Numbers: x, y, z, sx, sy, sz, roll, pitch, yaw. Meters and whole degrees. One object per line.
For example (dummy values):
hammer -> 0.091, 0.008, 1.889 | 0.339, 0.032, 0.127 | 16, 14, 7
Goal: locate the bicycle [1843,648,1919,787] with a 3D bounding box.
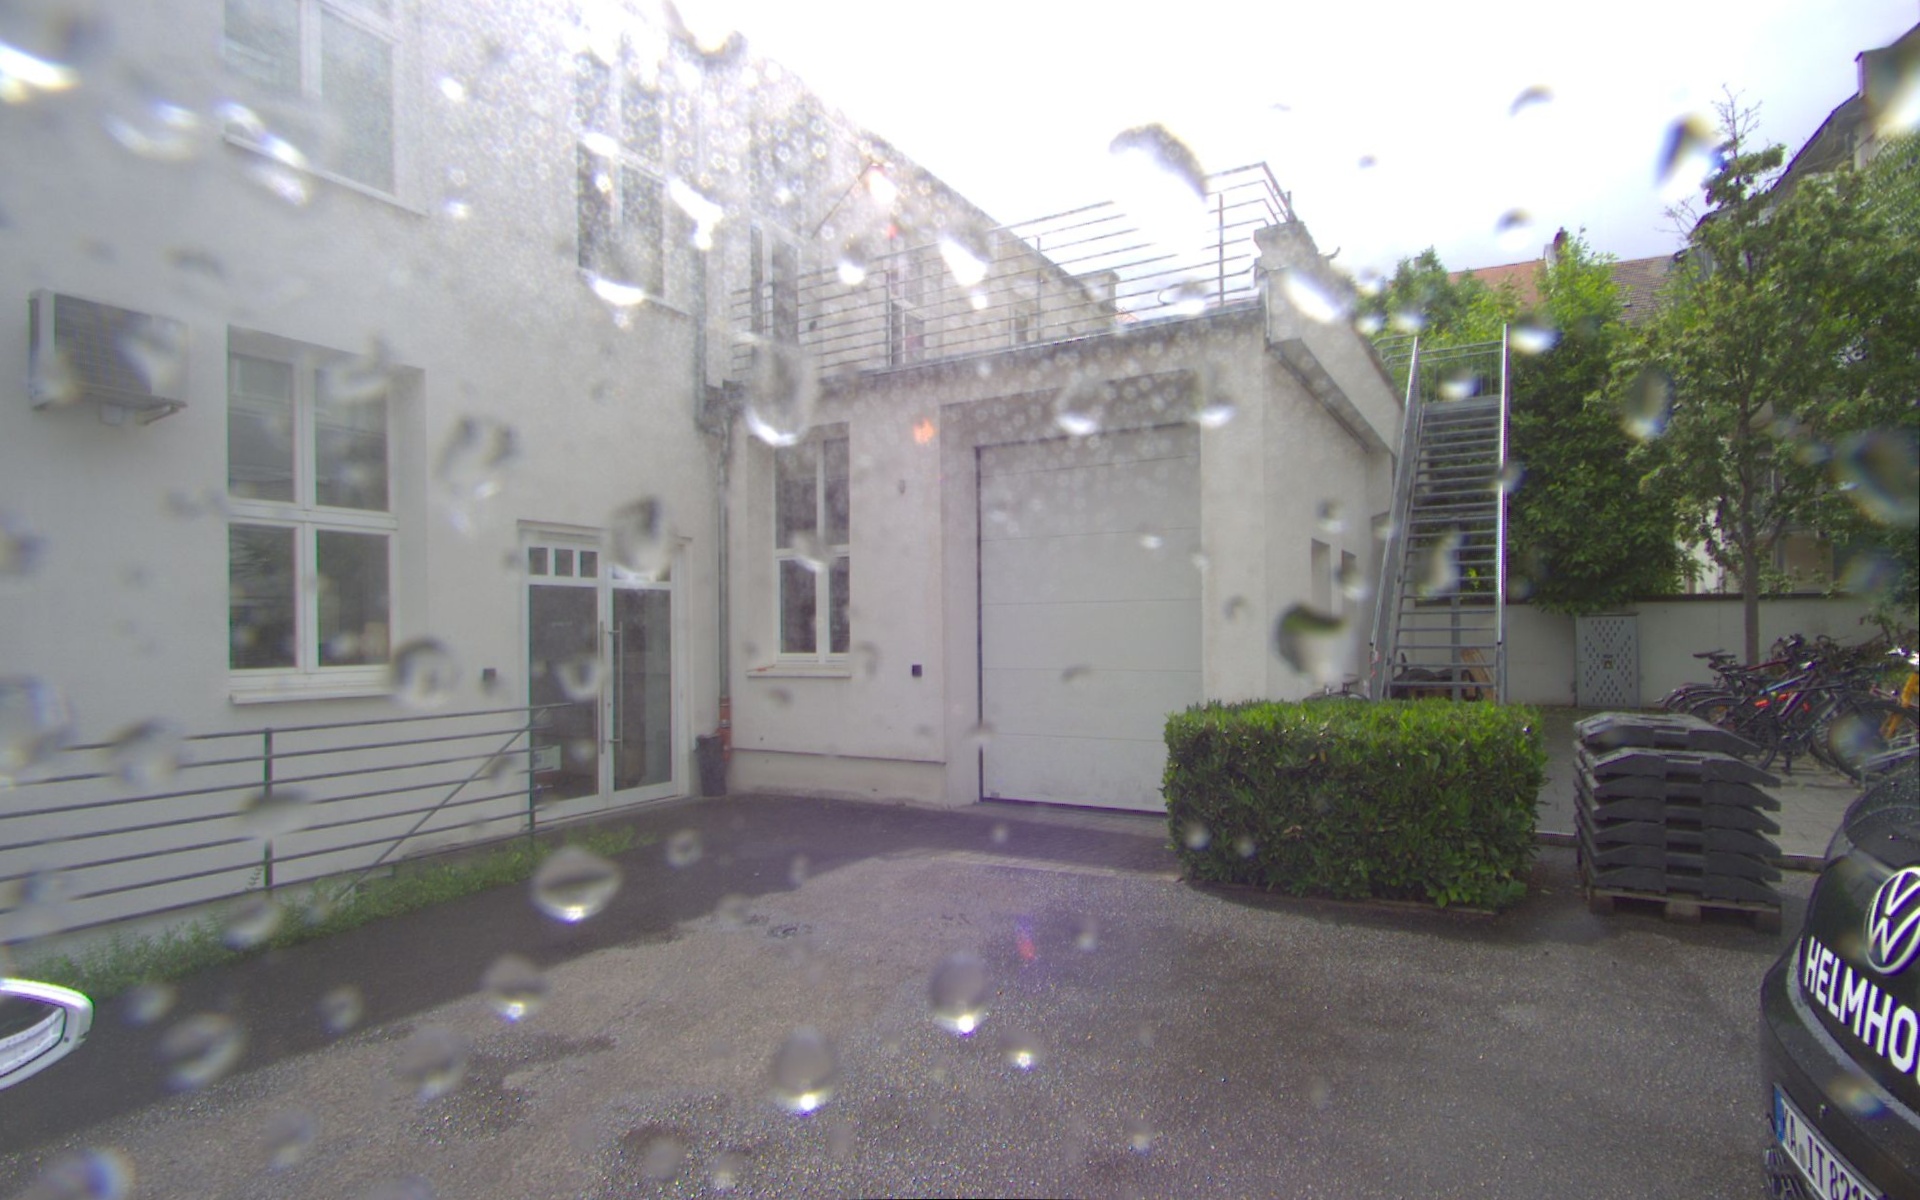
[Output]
bicycle -> 8.320, 0.953, 8.054 | 1.771, 1.118, 0.365 | -1, -1, 32

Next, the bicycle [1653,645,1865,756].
bicycle -> 8.482, 1.050, 10.701 | 1.727, 1.118, 0.345 | -1, 0, 24

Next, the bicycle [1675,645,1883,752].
bicycle -> 8.976, 1.062, 11.040 | 1.727, 1.118, 0.354 | -1, 0, 24

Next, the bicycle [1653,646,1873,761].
bicycle -> 8.209, 1.037, 10.307 | 1.727, 1.118, 0.342 | -1, 0, 24

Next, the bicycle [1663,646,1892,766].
bicycle -> 8.079, 1.024, 9.969 | 1.727, 1.118, 0.332 | -1, 0, 24

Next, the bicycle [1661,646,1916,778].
bicycle -> 7.608, 0.998, 9.289 | 1.771, 1.118, 0.353 | -1, 0, 32

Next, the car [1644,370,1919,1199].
car -> 3.700, 0.553, 0.946 | 4.669, 1.888, 1.966 | -2, -2, 23

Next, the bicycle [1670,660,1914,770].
bicycle -> 7.954, 1.080, 9.650 | 1.767, 0.980, 0.329 | -1, 0, 24

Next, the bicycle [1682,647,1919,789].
bicycle -> 7.281, 0.970, 8.550 | 1.771, 1.118, 0.403 | -1, -1, 32
